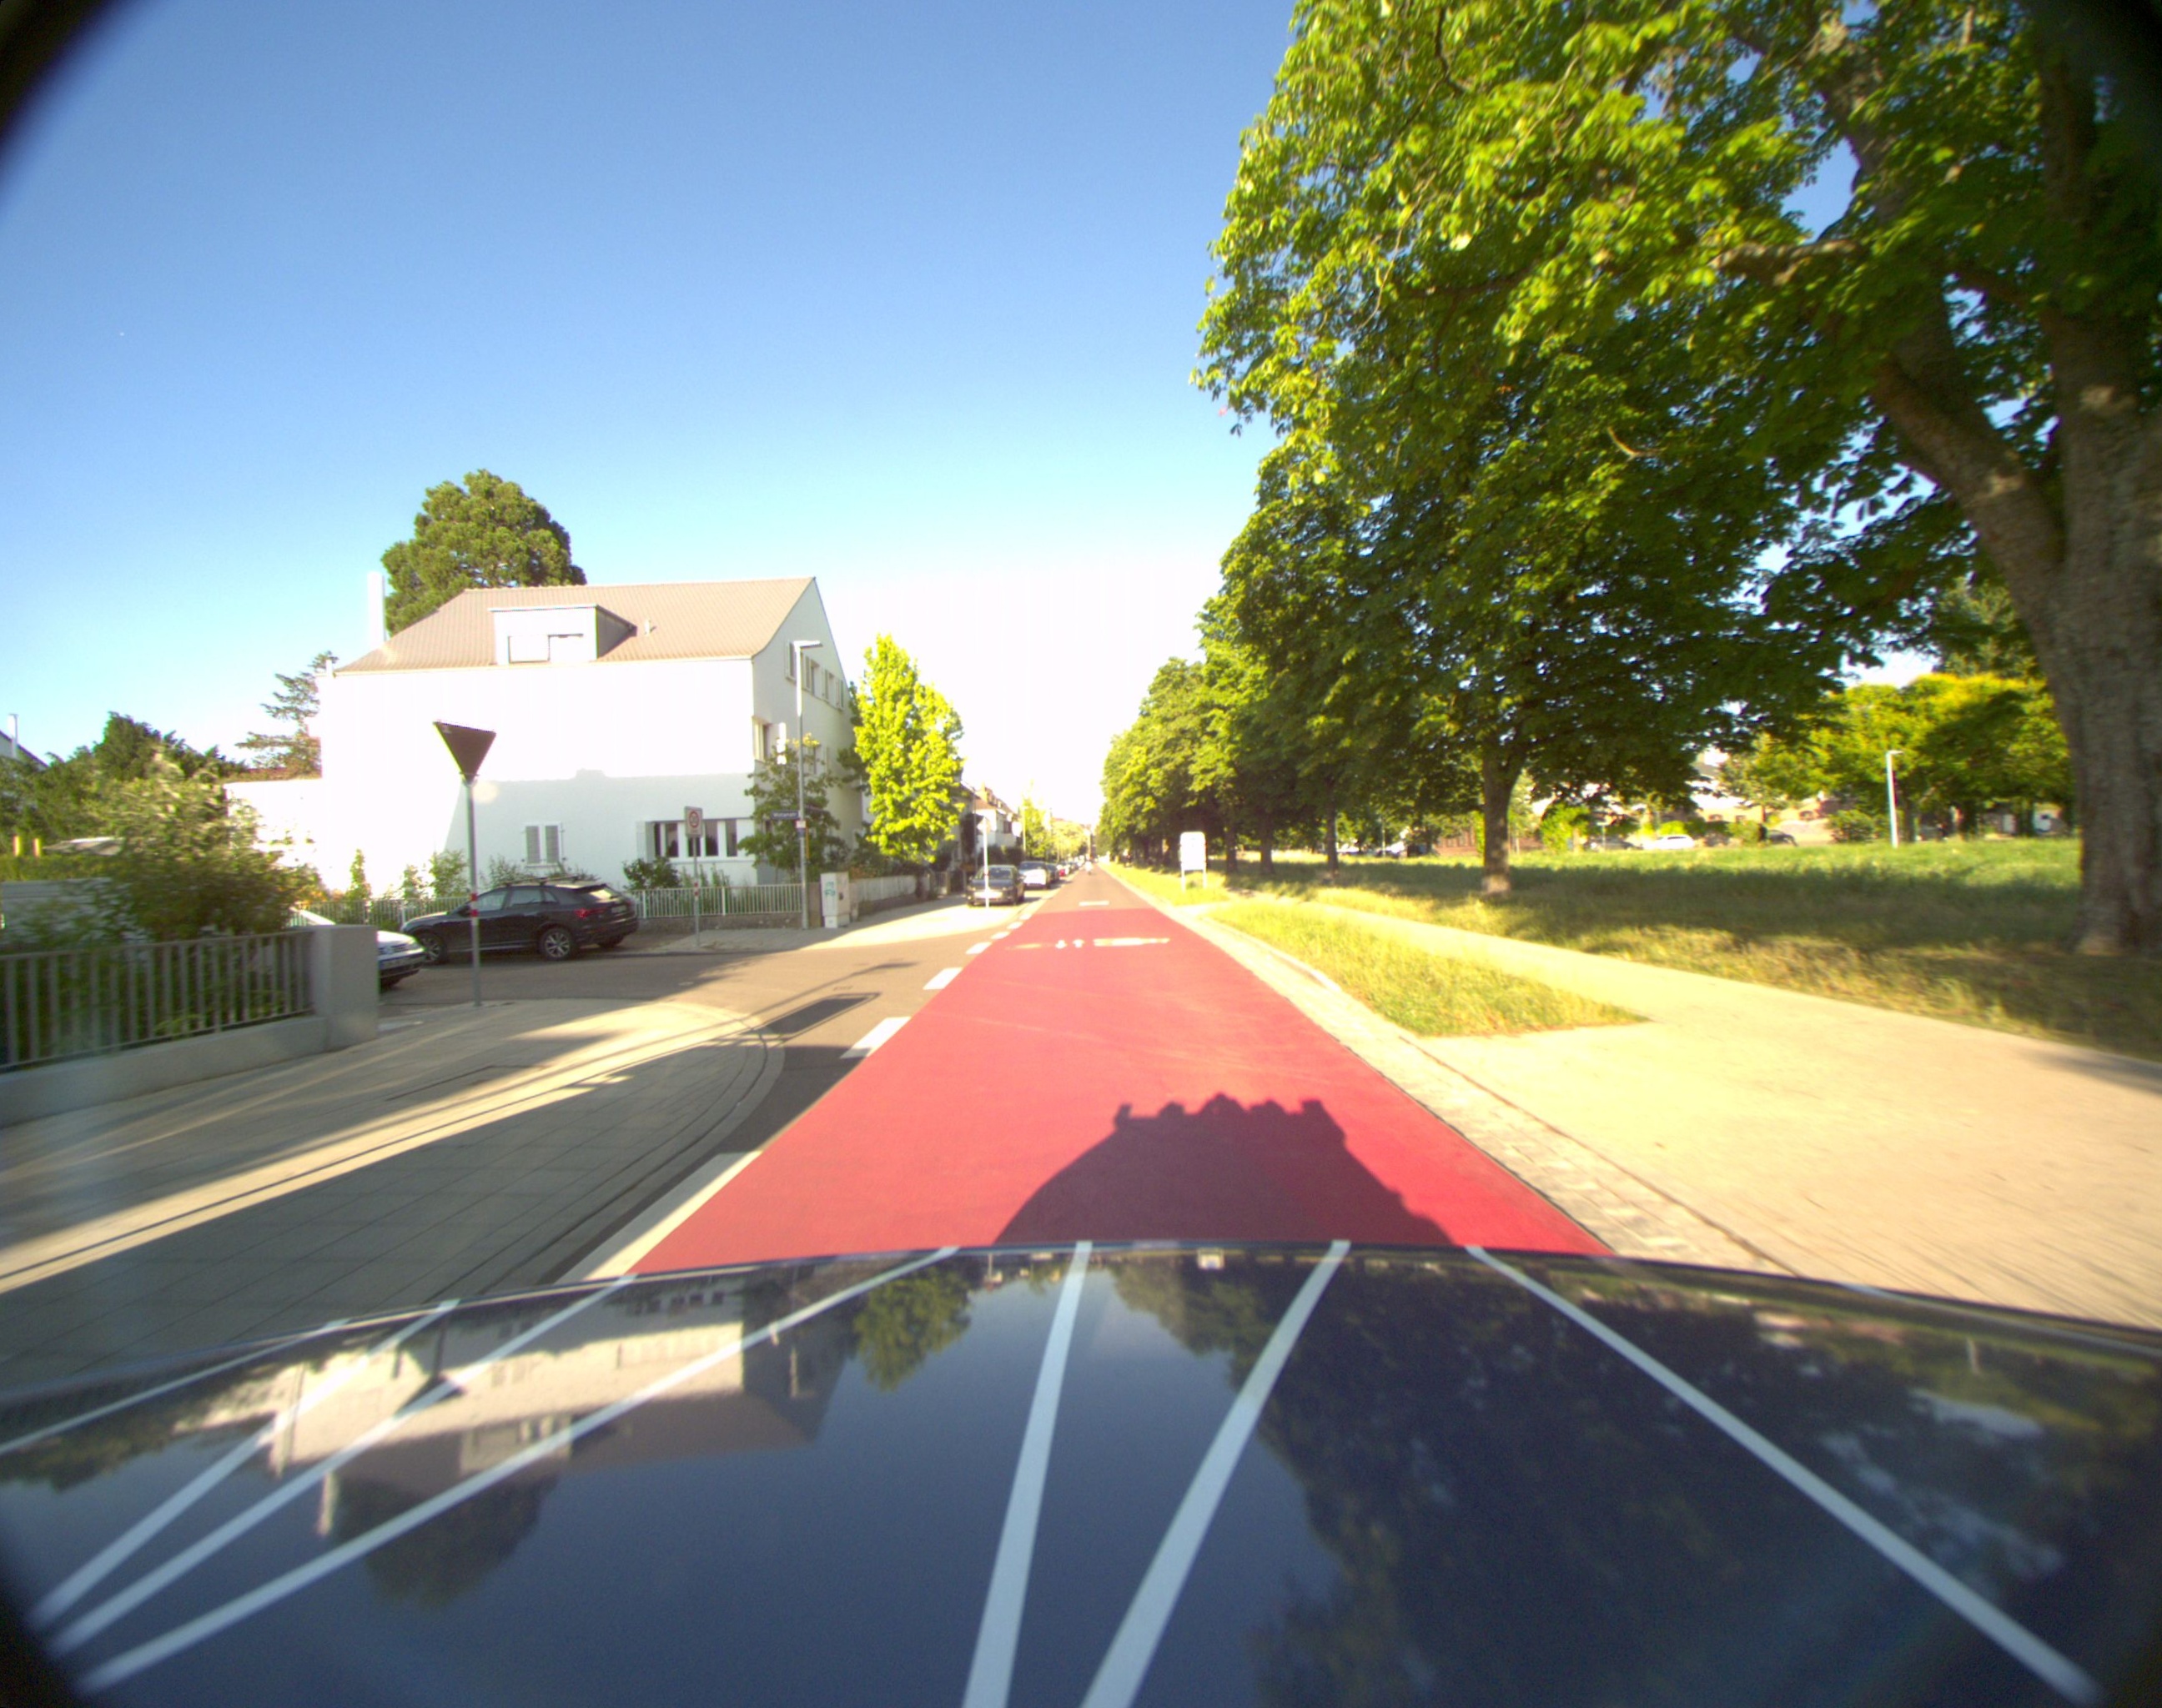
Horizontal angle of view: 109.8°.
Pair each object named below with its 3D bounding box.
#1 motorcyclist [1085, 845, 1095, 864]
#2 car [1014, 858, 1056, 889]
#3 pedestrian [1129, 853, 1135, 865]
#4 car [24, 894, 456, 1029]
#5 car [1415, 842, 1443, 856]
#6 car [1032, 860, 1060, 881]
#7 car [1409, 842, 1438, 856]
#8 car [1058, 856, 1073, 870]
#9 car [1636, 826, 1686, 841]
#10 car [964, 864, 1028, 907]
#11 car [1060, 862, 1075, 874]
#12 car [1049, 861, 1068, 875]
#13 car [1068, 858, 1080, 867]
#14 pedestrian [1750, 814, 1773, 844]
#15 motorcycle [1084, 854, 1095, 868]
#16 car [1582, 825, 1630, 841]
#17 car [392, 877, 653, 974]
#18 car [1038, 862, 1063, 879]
[{"bbox_3d":[0.915,0.058,80.776,0.961,2.002,1.274,-3,1,0],"label":"motorcyclist"},{"bbox_3d":[-2.591,1.095,43.545,1.910,1.698,4.576,0,-1,2],"label":"car"},{"bbox_3d":[7.811,0.771,116.225,0.625,1.840,0.606,-2,1,40],"label":"pedestrian"},{"bbox_3d":[-12.049,1.492,11.138,4.082,1.461,1.894,-3,1,-1],"label":"car"},{"bbox_3d":[43.979,-0.584,96.140,1.766,1.619,4.000,-3,0,1],"label":"car"},{"bbox_3d":[-2.525,1.189,55.344,1.798,1.485,4.194,0,0,1],"label":"car"},{"bbox_3d":[38.340,-0.600,85.142,1.585,1.473,3.640,-3,0,2],"label":"car"},{"bbox_3d":[-1.755,1.014,86.326,1.508,1.471,3.493,-1,0,1],"label":"car"},{"bbox_3d":[57.630,-2.010,75.538,3.636,1.273,1.586,-3,1,2],"label":"car"},{"bbox_3d":[-3.085,1.147,28.460,1.798,1.473,4.125,0,-1,2],"label":"car"},{"bbox_3d":[-1.670,1.763,95.572,1.745,1.471,4.057,-2,0,0],"label":"car"},{"bbox_3d":[-2.239,1.396,76.762,1.702,1.250,3.879,-1,0,1],"label":"car"},{"bbox_3d":[-1.153,1.470,132.674,1.844,1.471,3.764,-2,0,3],"label":"car"},{"bbox_3d":[40.269,-1.448,44.944,0.778,1.714,0.715,-4,1,-27],"label":"pedestrian"},{"bbox_3d":[0.925,0.719,80.726,1.077,1.373,2.463,-3,0,0],"label":"motorcycle"},{"bbox_3d":[51.925,-2.064,75.210,3.636,1.273,1.586,-3,1,2],"label":"car"},{"bbox_3d":[-11.841,1.477,16.345,4.100,1.679,1.894,-3,1,-1],"label":"car"},{"bbox_3d":[-2.467,1.346,62.662,1.798,1.372,4.078,0,0,1],"label":"car"}]
